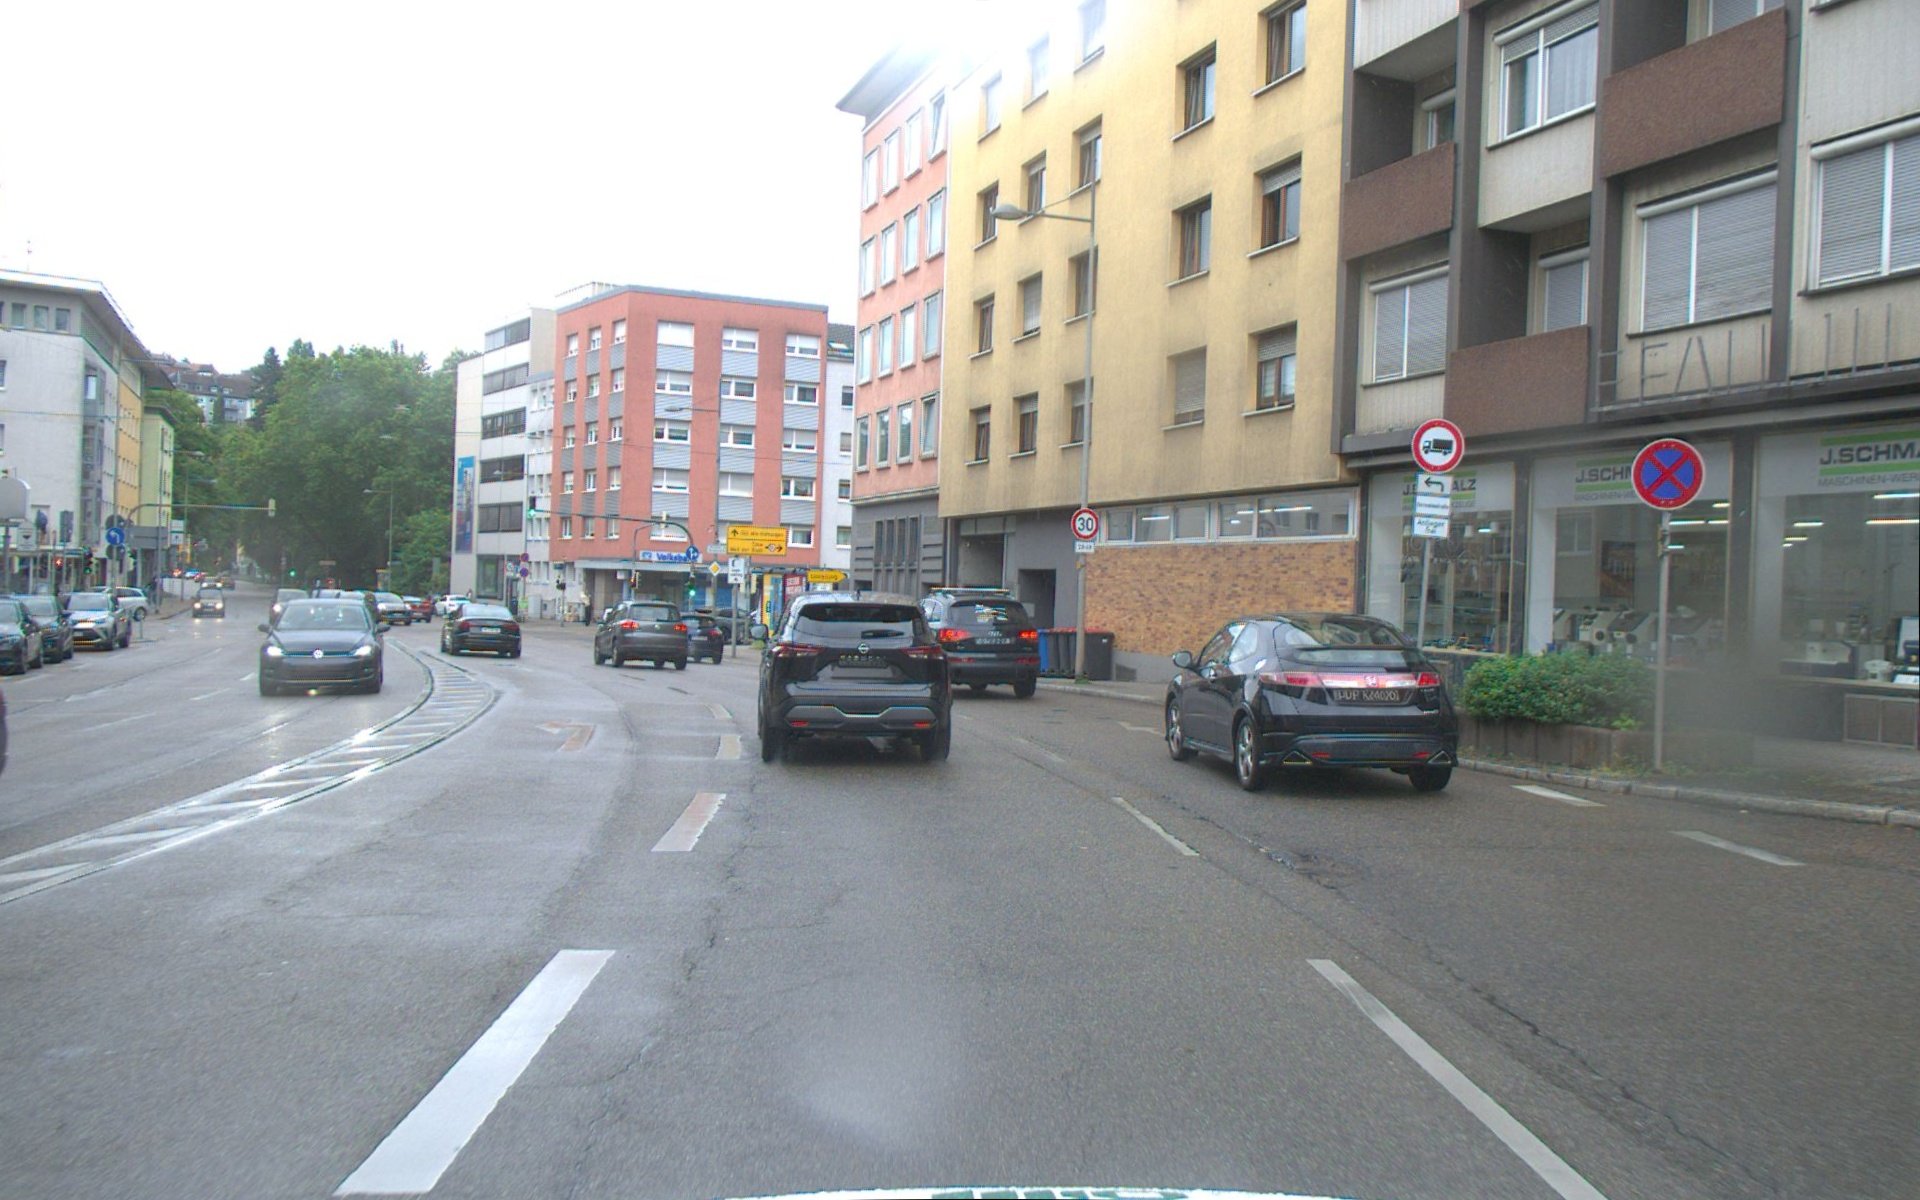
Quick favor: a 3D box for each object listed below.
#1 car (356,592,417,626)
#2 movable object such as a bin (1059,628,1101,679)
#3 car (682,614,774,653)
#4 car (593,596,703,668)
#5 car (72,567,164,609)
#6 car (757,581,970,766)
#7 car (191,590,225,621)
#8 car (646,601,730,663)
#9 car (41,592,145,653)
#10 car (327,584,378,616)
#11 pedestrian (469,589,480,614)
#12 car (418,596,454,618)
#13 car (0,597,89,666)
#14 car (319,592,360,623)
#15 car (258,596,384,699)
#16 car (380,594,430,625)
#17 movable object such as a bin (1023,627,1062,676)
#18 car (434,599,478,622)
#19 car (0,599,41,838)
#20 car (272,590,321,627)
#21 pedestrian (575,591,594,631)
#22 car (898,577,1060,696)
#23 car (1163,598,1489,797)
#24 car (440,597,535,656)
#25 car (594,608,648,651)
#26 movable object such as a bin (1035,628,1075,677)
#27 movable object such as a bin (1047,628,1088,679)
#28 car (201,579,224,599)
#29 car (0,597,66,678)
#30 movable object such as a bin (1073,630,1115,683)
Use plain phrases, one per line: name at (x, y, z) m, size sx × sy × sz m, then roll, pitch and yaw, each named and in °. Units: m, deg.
car at (-28.496, 0.436, 82.153) m, size 1.840 × 1.580 × 4.176 m, roll 2°, pitch -1°, yaw -34°
movable object such as a bin at (2.621, 1.168, 36.070) m, size 0.671 × 1.095 × 0.664 m, roll 2°, pitch -1°, yaw -22°
car at (-10.777, 1.562, 77.075) m, size 1.962 × 1.545 × 3.982 m, roll 3°, pitch -1°, yaw 37°
car at (-7.900, 0.766, 41.653) m, size 1.920 × 1.714 × 3.971 m, roll 0°, pitch 0°, yaw -24°
car at (-38.866, -0.519, 76.475) m, size 1.646 × 1.735 × 4.003 m, roll 4°, pitch -1°, yaw 9°
car at (-1.106, 0.658, 16.902) m, size 1.859 × 1.657 × 3.993 m, roll 0°, pitch 0°, yaw -8°
car at (-41.810, 0.295, 91.981) m, size 1.671 × 1.655 × 3.969 m, roll 1°, pitch 0°, yaw -24°
car at (-8.566, 0.969, 51.924) m, size 1.917 × 1.848 × 3.976 m, roll 0°, pitch 0°, yaw -20°
car at (-23.814, 0.600, 45.596) m, size 1.880 × 1.581 × 4.603 m, roll 1°, pitch -1°, yaw -20°
car at (-31.837, 0.013, 86.616) m, size 1.913 × 1.553 × 4.095 m, roll 2°, pitch -1°, yaw -29°
pedestrian at (-34.892, 0.079, 118.815) m, size 0.607 × 1.767 × 0.672 m, roll 0°, pitch 0°, yaw -36°
car at (-36.656, 0.499, 115.627) m, size 1.695 × 1.467 × 4.044 m, roll 0°, pitch 1°, yaw -28°
car at (-21.377, 0.689, 38.144) m, size 1.968 × 1.503 × 4.484 m, roll 1°, pitch 0°, yaw -24°
car at (-34.499, 0.405, 91.933) m, size 1.797 × 1.636 × 4.396 m, roll 2°, pitch -1°, yaw -24°
car at (-10.241, 0.702, 26.708) m, size 1.658 × 1.498 × 3.979 m, roll -1°, pitch 0°, yaw -18°
car at (-31.292, 0.533, 93.203) m, size 1.971 × 1.556 × 3.963 m, roll 4°, pitch -1°, yaw -29°
movable object such as a bin at (1.892, 1.181, 37.977) m, size 0.671 × 1.095 × 0.664 m, roll 2°, pitch -1°, yaw -22°
car at (-33.524, 0.654, 110.008) m, size 1.757 × 1.426 × 4.531 m, roll 0°, pitch 1°, yaw -31°
car at (-6.772, 0.746, 8.530) m, size 1.945 × 1.485 × 4.479 m, roll 0°, pitch 0°, yaw -6°
car at (-30.818, 0.379, 76.759) m, size 1.839 × 1.676 × 4.219 m, roll 1°, pitch 0°, yaw -25°
pedestrian at (-21.446, 0.612, 94.443) m, size 0.814 × 2.196 × 0.764 m, roll 4°, pitch -1°, yaw -23°
car at (0.222, 0.601, 29.008) m, size 1.984 × 1.902 × 4.887 m, roll 0°, pitch 0°, yaw -10°
car at (3.109, 0.763, 14.911) m, size 1.749 × 1.523 × 4.052 m, roll 0°, pitch 0°, yaw -5°
car at (-13.320, 0.724, 46.454) m, size 1.967 × 1.412 × 4.468 m, roll 4°, pitch -1°, yaw -23°
car at (-13.644, 1.148, 66.400) m, size 1.959 × 1.512 × 3.987 m, roll 4°, pitch -1°, yaw -13°
movable object such as a bin at (2.139, 1.184, 37.342) m, size 0.671 × 1.095 × 0.664 m, roll 2°, pitch -1°, yaw -22°
movable object such as a bin at (2.381, 1.192, 36.710) m, size 0.671 × 1.095 × 0.664 m, roll 2°, pitch -1°, yaw -22°
car at (-77.847, -1.118, 172.281) m, size 1.967 × 1.892 × 3.971 m, roll 4°, pitch -1°, yaw -24°
car at (-19.249, 0.705, 33.203) m, size 1.857 × 1.503 × 4.942 m, roll 0°, pitch 0°, yaw -24°
movable object such as a bin at (2.870, 1.203, 35.434) m, size 0.671 × 1.095 × 0.664 m, roll 2°, pitch -1°, yaw -22°
